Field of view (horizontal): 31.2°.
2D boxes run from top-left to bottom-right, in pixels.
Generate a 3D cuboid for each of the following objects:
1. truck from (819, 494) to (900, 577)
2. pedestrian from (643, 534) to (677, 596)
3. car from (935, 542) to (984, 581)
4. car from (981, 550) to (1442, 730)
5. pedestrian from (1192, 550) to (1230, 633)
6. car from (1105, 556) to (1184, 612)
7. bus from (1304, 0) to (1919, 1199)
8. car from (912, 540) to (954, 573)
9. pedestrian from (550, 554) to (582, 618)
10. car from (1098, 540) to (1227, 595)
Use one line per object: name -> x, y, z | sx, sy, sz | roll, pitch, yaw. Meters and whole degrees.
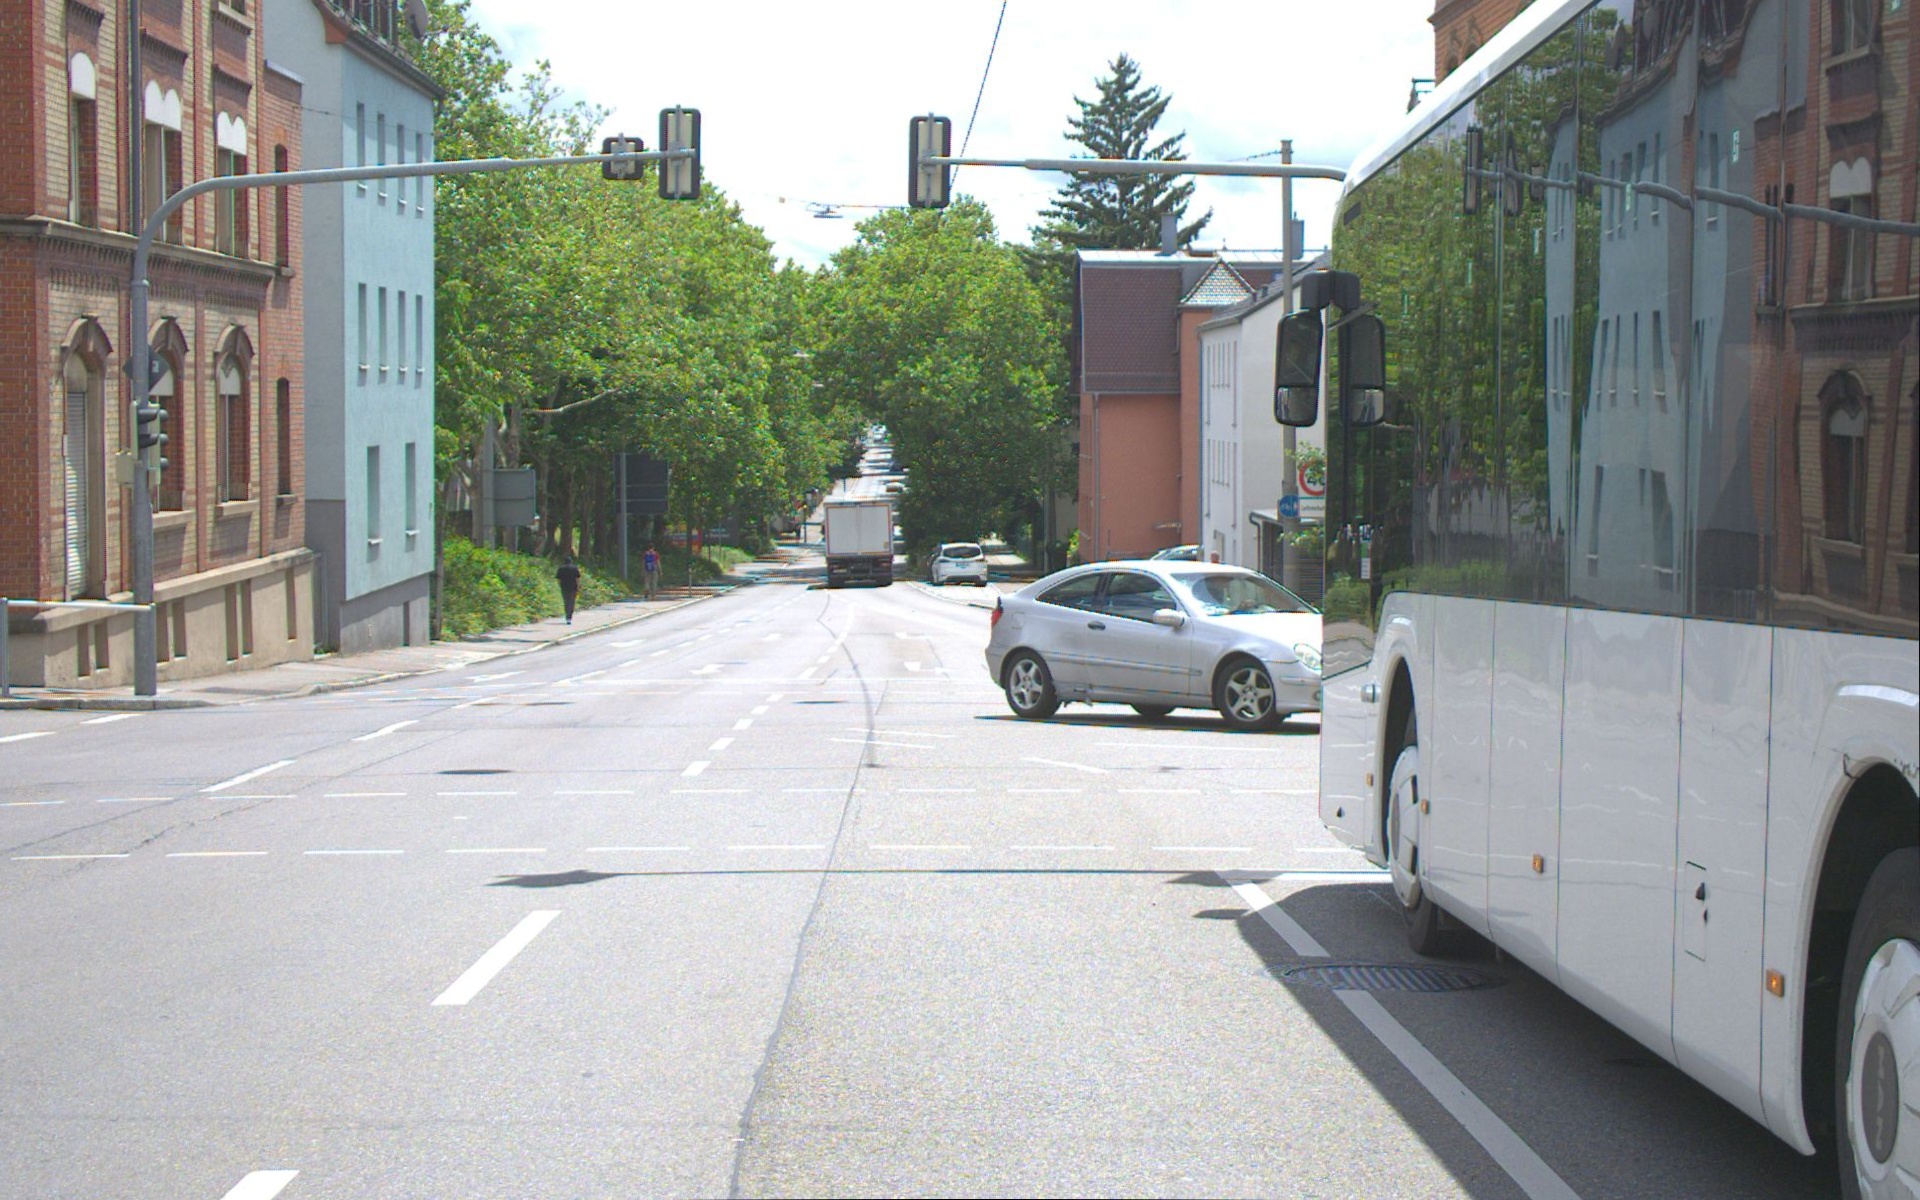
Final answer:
truck -> -3.937, -2.507, 133.208 | 2.926, 3.070, 7.887 | -1, 1, -3
pedestrian -> -9.792, -1.132, 112.105 | 0.995, 2.007, 1.189 | -1, 1, -1
car -> -0.035, -1.460, 129.551 | 1.794, 1.405, 4.000 | 1, 1, -1
car -> 2.098, 0.296, 29.606 | 1.699, 1.422, 3.999 | -2, 1, -38
pedestrian -> 5.384, -0.188, 73.645 | 0.738, 1.744, 0.619 | -1, 1, -1
car -> 4.970, -0.444, 93.100 | 1.794, 1.405, 4.001 | -1, 1, -2
bus -> 2.971, -0.204, 9.251 | 2.672, 3.145, 12.462 | 1, 1, -1
car -> -1.205, -1.947, 153.958 | 1.794, 1.405, 4.419 | 1, 1, 0
pedestrian -> -9.616, -0.341, 83.978 | 0.729, 1.560, 0.561 | 0, 1, -1
car -> 6.642, -1.071, 113.196 | 3.986, 1.751, 2.000 | -1, 1, -5
